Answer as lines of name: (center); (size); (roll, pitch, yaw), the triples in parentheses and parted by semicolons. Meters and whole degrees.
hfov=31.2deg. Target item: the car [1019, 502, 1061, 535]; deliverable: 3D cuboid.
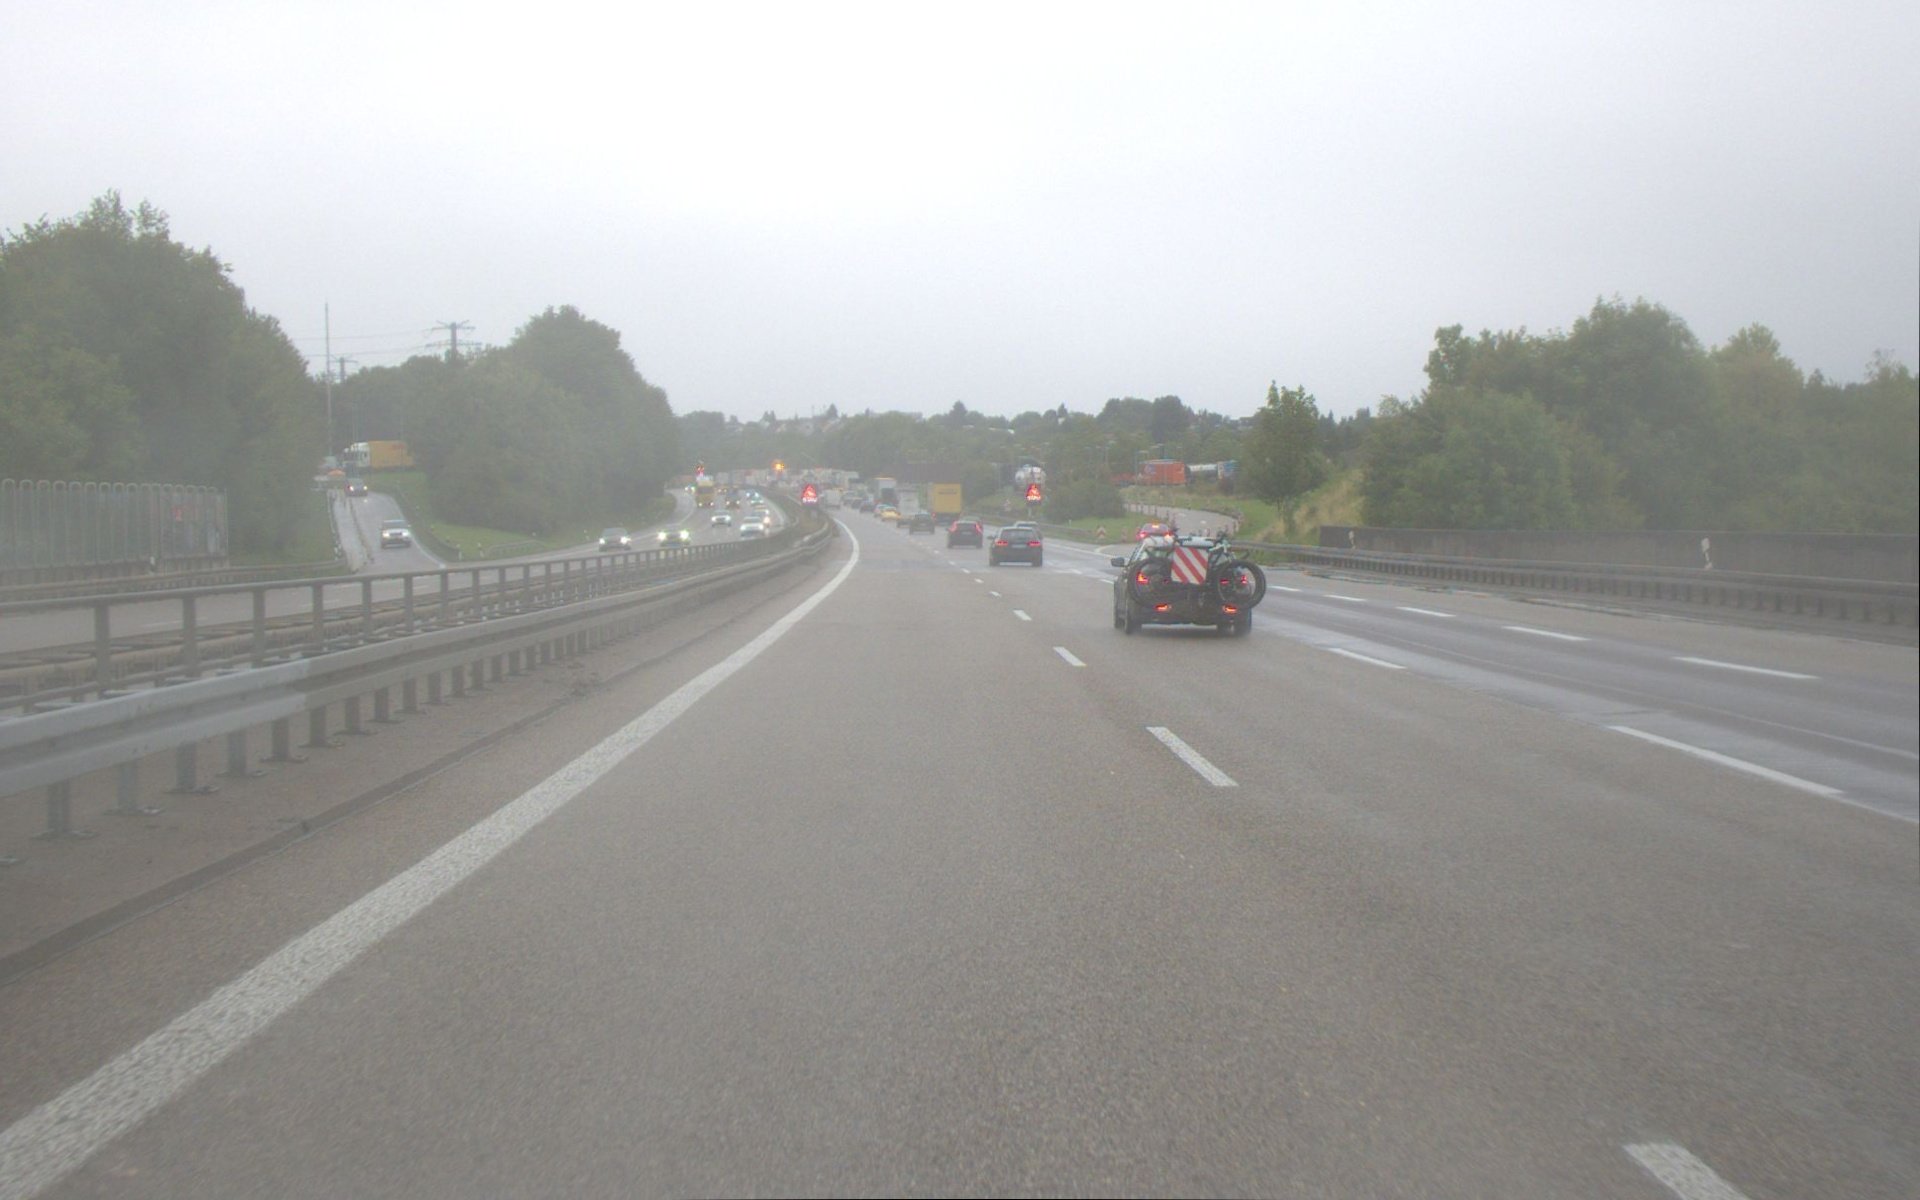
car: (4.457, -4.554, 191.745); (1.993, 1.755, 4.001); (-2, 2, -3)

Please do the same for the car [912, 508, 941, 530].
car: (-2.592, -6.194, 262.411); (1.993, 1.623, 4.001); (-2, 2, -3)

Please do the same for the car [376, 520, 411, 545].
car: (-38.723, -4.621, 235.035); (1.993, 1.664, 4.001); (-2, 1, -14)

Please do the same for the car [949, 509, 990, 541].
car: (0.500, -4.032, 185.507); (1.993, 1.623, 4.001); (-2, 2, -3)

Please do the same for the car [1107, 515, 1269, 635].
car: (3.304, -0.399, 50.742); (2.058, 1.665, 5.522); (0, 1, 1)

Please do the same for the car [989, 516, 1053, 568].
car: (2.165, -2.101, 123.227); (1.993, 1.755, 4.001); (-2, 2, -3)

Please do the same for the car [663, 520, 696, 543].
car: (-18.365, -4.479, 225.071); (1.816, 1.432, 4.089); (-2, 2, -1)

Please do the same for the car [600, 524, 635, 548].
car: (-21.252, -3.957, 213.549); (1.816, 1.384, 4.089); (-2, 2, -1)

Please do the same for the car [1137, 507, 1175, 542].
car: (10.273, -3.963, 180.194); (1.922, 1.703, 4.000); (-1, 2, 4)
